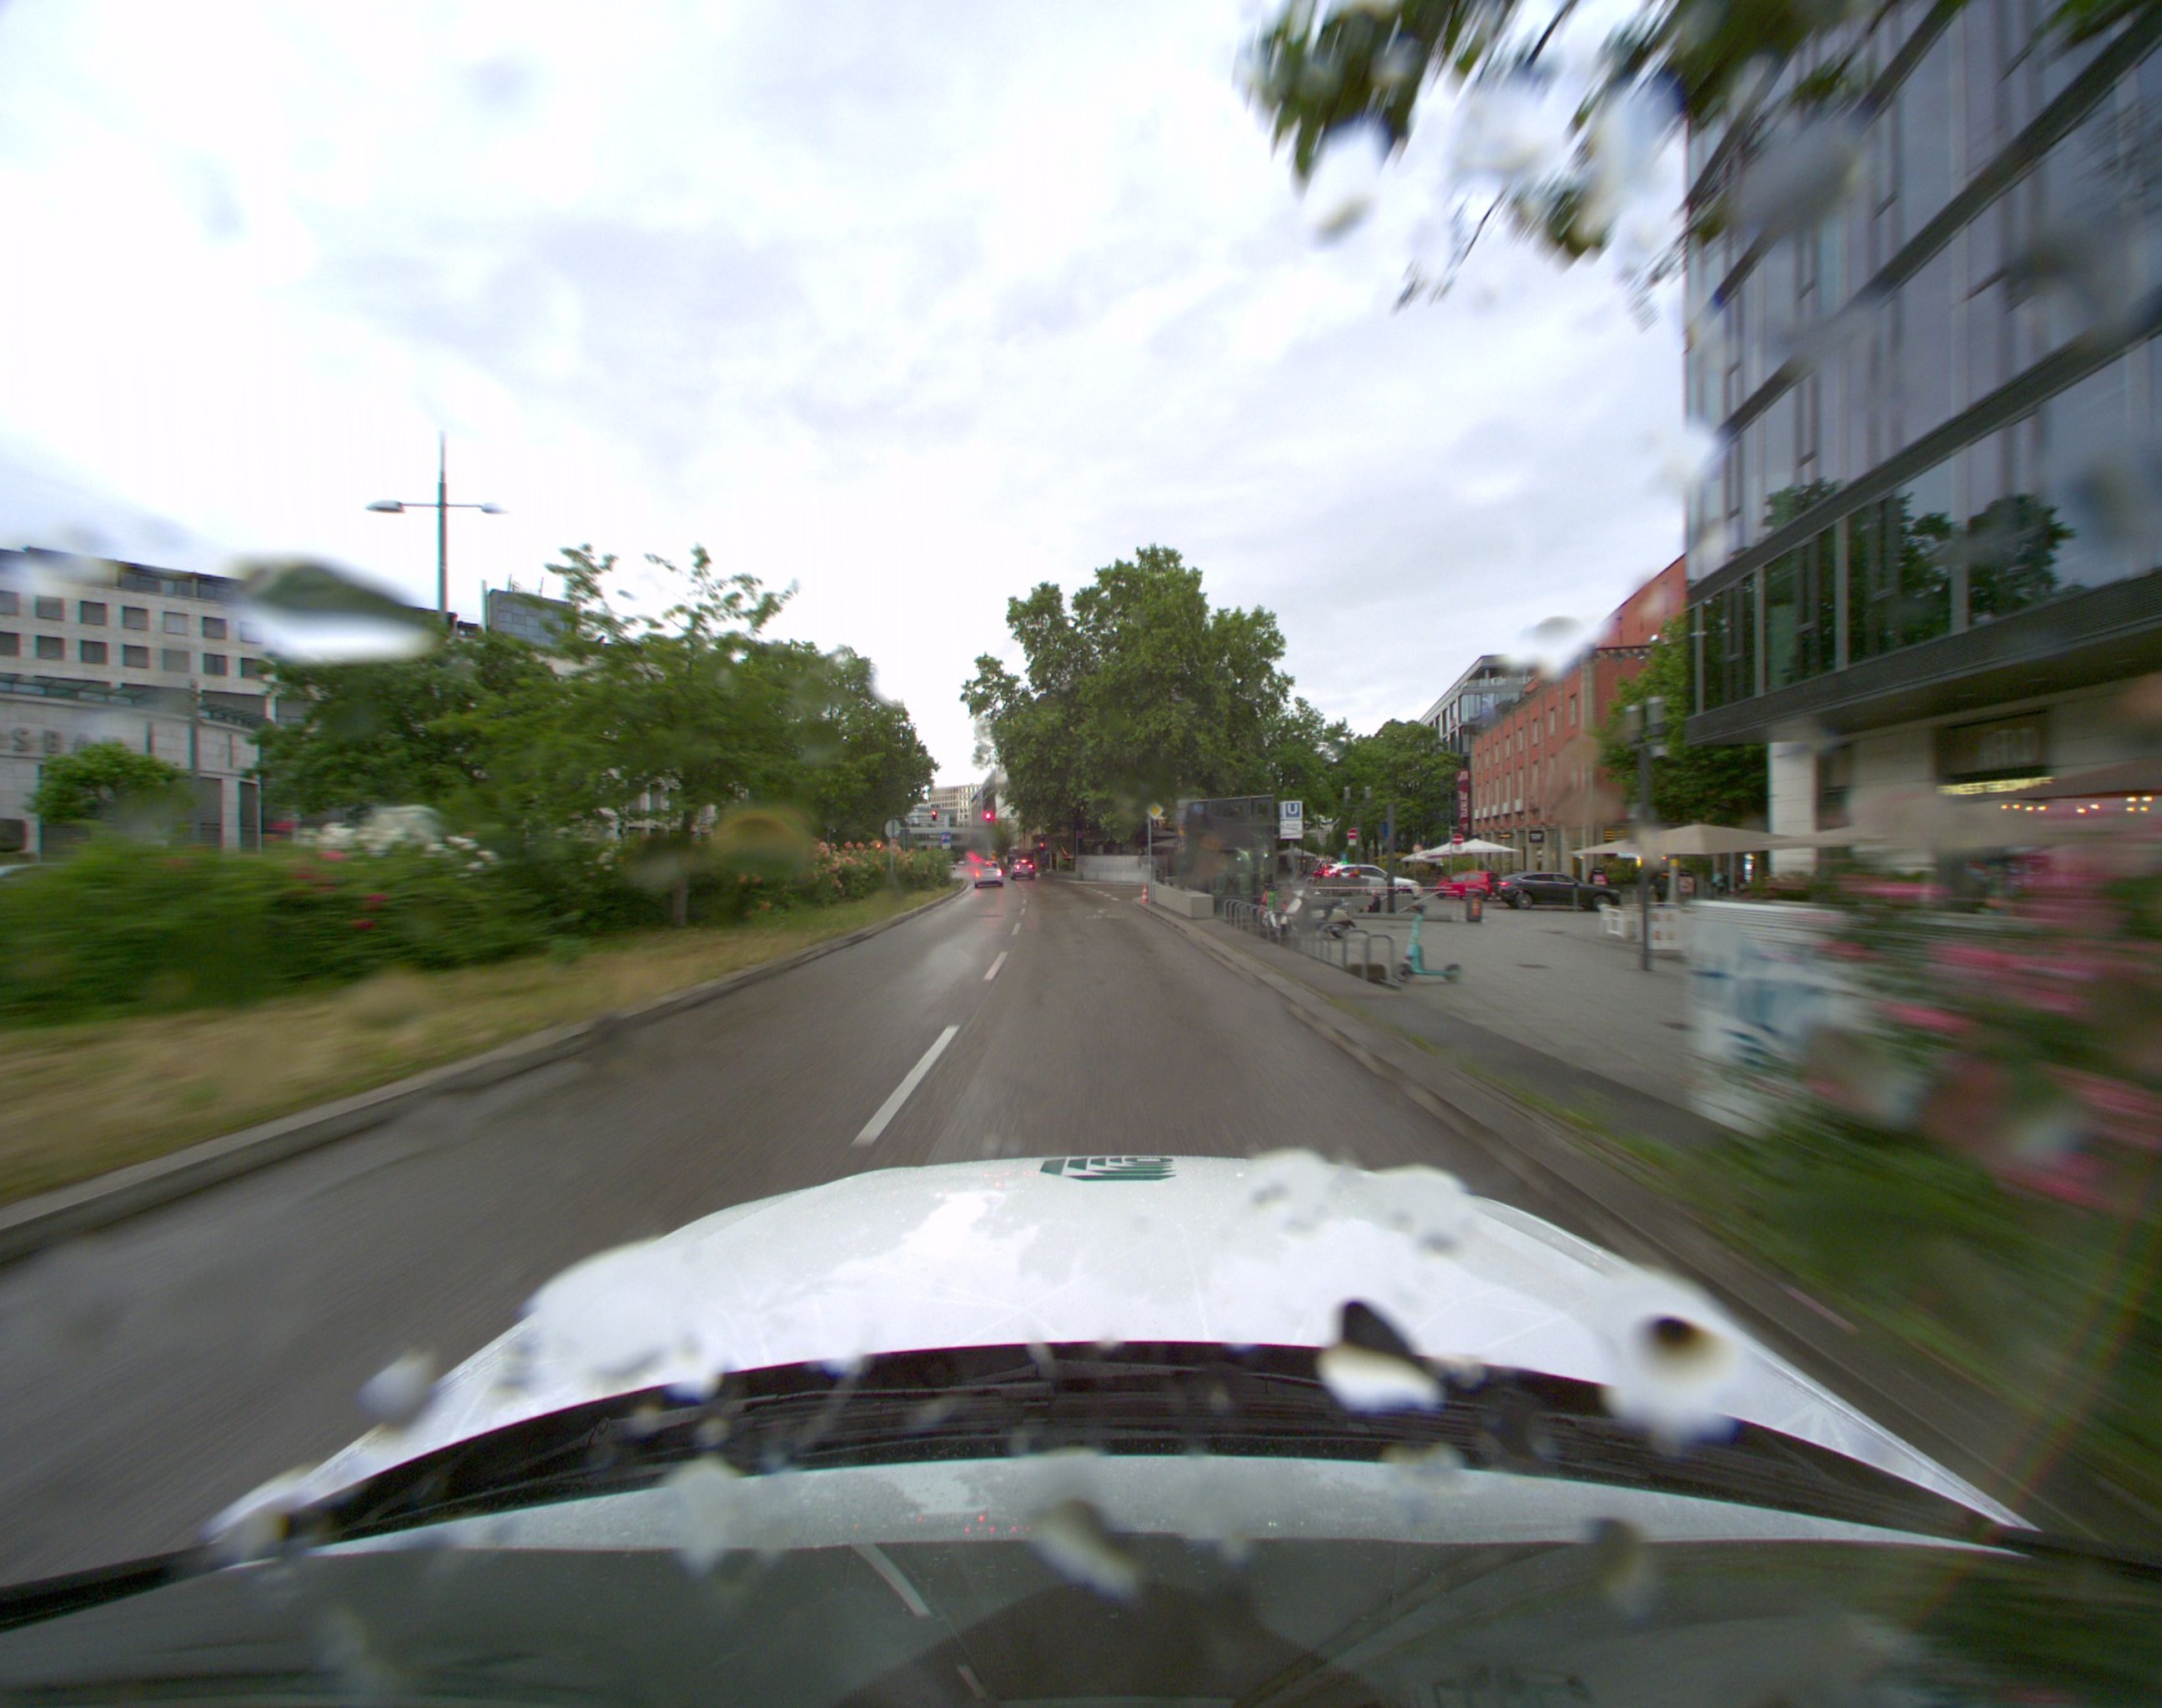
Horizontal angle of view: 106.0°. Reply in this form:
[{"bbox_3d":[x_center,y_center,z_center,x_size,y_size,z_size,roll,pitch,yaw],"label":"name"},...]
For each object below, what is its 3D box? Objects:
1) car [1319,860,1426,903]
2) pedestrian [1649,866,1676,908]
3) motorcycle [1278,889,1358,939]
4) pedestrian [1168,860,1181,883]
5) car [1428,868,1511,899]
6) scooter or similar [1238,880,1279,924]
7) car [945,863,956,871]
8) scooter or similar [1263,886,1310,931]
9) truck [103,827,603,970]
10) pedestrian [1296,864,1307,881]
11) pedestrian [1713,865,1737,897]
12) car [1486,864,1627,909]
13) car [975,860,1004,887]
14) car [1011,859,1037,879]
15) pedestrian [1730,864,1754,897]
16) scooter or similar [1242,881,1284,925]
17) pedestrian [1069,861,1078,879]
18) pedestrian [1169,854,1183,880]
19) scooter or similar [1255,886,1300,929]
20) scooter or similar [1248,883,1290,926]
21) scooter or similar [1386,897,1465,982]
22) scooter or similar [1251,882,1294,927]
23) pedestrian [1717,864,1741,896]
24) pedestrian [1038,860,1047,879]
[{"bbox_3d":[12.583,1.162,35.397,4.071,1.621,1.868,3,-1,11],"label":"car"},{"bbox_3d":[25.726,1.450,36.045,0.606,1.809,0.808,1,-1,0],"label":"pedestrian"},{"bbox_3d":[5.753,1.456,19.824,1.773,1.158,0.607,0,0,-3],"label":"motorcycle"},{"bbox_3d":[5.878,1.074,51.166,0.683,1.410,0.904,2,-1,-3],"label":"pedestrian"},{"bbox_3d":[19.649,1.467,41.311,1.618,1.416,3.496,2,0,-28],"label":"car"},{"bbox_3d":[5.204,1.404,23.867,1.110,1.269,0.364,0,0,-3],"label":"scooter or similar"},{"bbox_3d":[-24.660,2.490,153.735,1.979,1.463,4.329,-2,0,-11],"label":"car"},{"bbox_3d":[5.462,1.441,21.711,1.110,1.158,0.531,0,0,-3],"label":"scooter or similar"},{"bbox_3d":[-15.430,0.824,18.669,3.351,2.510,8.488,-1,0,5],"label":"truck"},{"bbox_3d":[17.092,1.432,63.056,0.627,1.250,0.609,2,-2,-3],"label":"pedestrian"},{"bbox_3d":[32.238,1.336,40.778,0.747,1.560,0.611,1,-1,7],"label":"pedestrian"},{"bbox_3d":[19.584,1.322,33.776,4.700,1.691,2.013,1,0,15],"label":"car"},{"bbox_3d":[-5.512,1.139,48.979,1.589,1.491,3.495,-2,0,-8],"label":"car"},{"bbox_3d":[-4.794,1.250,67.766,1.945,1.666,4.333,0,-1,-8],"label":"car"},{"bbox_3d":[33.304,1.324,41.044,0.747,1.597,0.611,1,-1,7],"label":"pedestrian"},{"bbox_3d":[5.244,1.415,23.462,1.110,1.234,0.364,0,0,-3],"label":"scooter or similar"},{"bbox_3d":[-0.746,1.580,80.536,0.857,1.780,0.716,-1,-1,-5],"label":"pedestrian"},{"bbox_3d":[6.305,0.834,53.908,0.716,1.702,0.622,-1,-1,23],"label":"pedestrian"},{"bbox_3d":[5.357,1.452,22.221,1.110,1.158,0.443,0,0,-3],"label":"scooter or similar"},{"bbox_3d":[5.313,1.425,23.061,1.110,1.216,0.364,0,0,-3],"label":"scooter or similar"},{"bbox_3d":[5.423,1.327,12.832,1.091,1.272,0.479,0,0,-13],"label":"scooter or similar"},{"bbox_3d":[5.314,1.407,22.663,1.110,1.237,0.364,0,0,-3],"label":"scooter or similar"},{"bbox_3d":[33.237,1.338,41.768,0.747,1.597,0.611,1,-1,7],"label":"pedestrian"},{"bbox_3d":[-3.636,1.489,77.316,0.857,1.780,0.716,-1,-1,-5],"label":"pedestrian"}]
